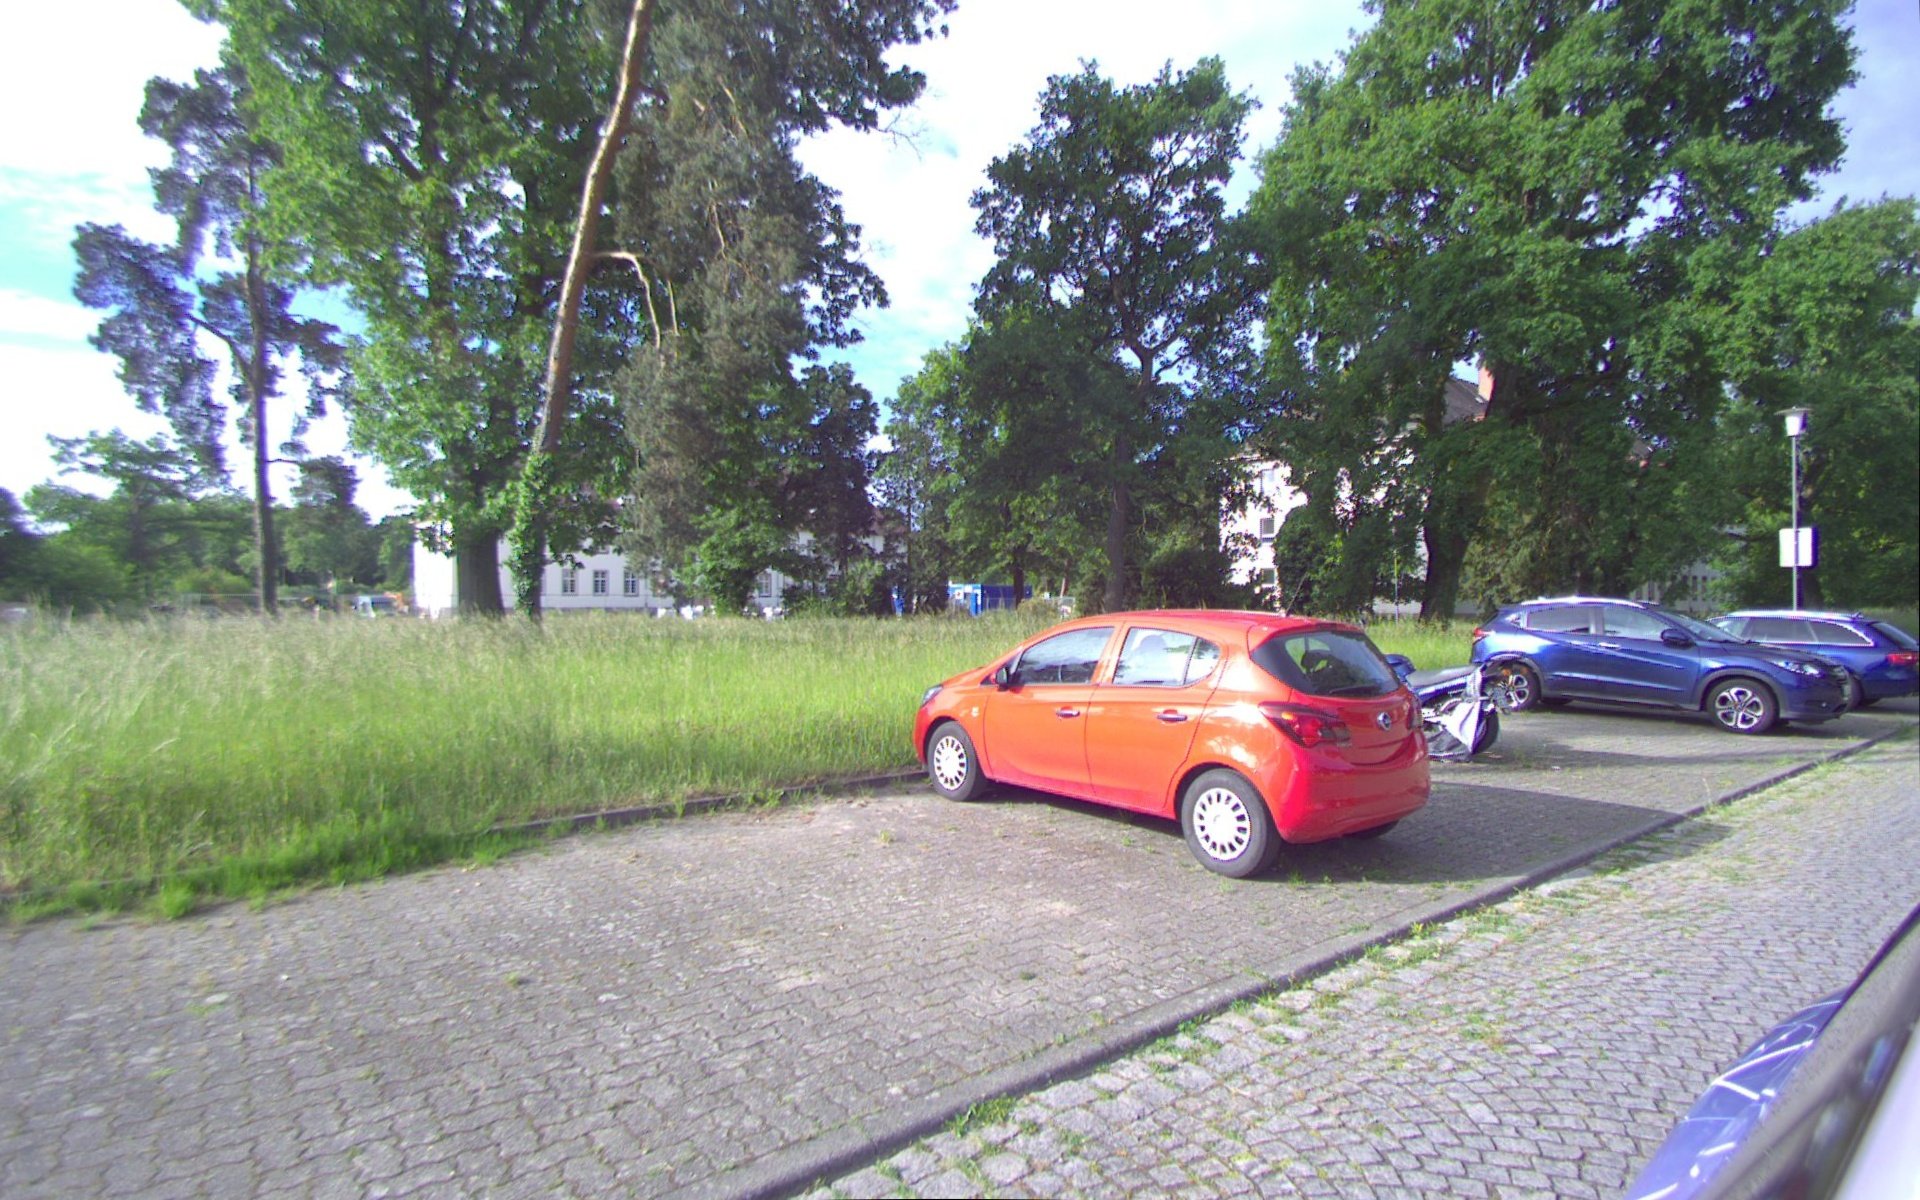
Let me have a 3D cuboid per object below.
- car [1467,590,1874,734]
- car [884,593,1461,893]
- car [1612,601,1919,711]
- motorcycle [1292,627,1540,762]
[{"bbox_3d":[9.216,0.669,13.434,1.715,1.589,4.135,-1,1,-39],"label":"car"},{"bbox_3d":[1.239,0.720,7.241,1.657,1.491,3.886,-1,1,-39],"label":"car"},{"bbox_3d":[12.982,0.785,16.104,1.750,1.469,4.038,-1,1,-36],"label":"car"},{"bbox_3d":[4.535,0.886,10.280,0.595,1.127,2.308,-1,1,-36],"label":"motorcycle"}]
